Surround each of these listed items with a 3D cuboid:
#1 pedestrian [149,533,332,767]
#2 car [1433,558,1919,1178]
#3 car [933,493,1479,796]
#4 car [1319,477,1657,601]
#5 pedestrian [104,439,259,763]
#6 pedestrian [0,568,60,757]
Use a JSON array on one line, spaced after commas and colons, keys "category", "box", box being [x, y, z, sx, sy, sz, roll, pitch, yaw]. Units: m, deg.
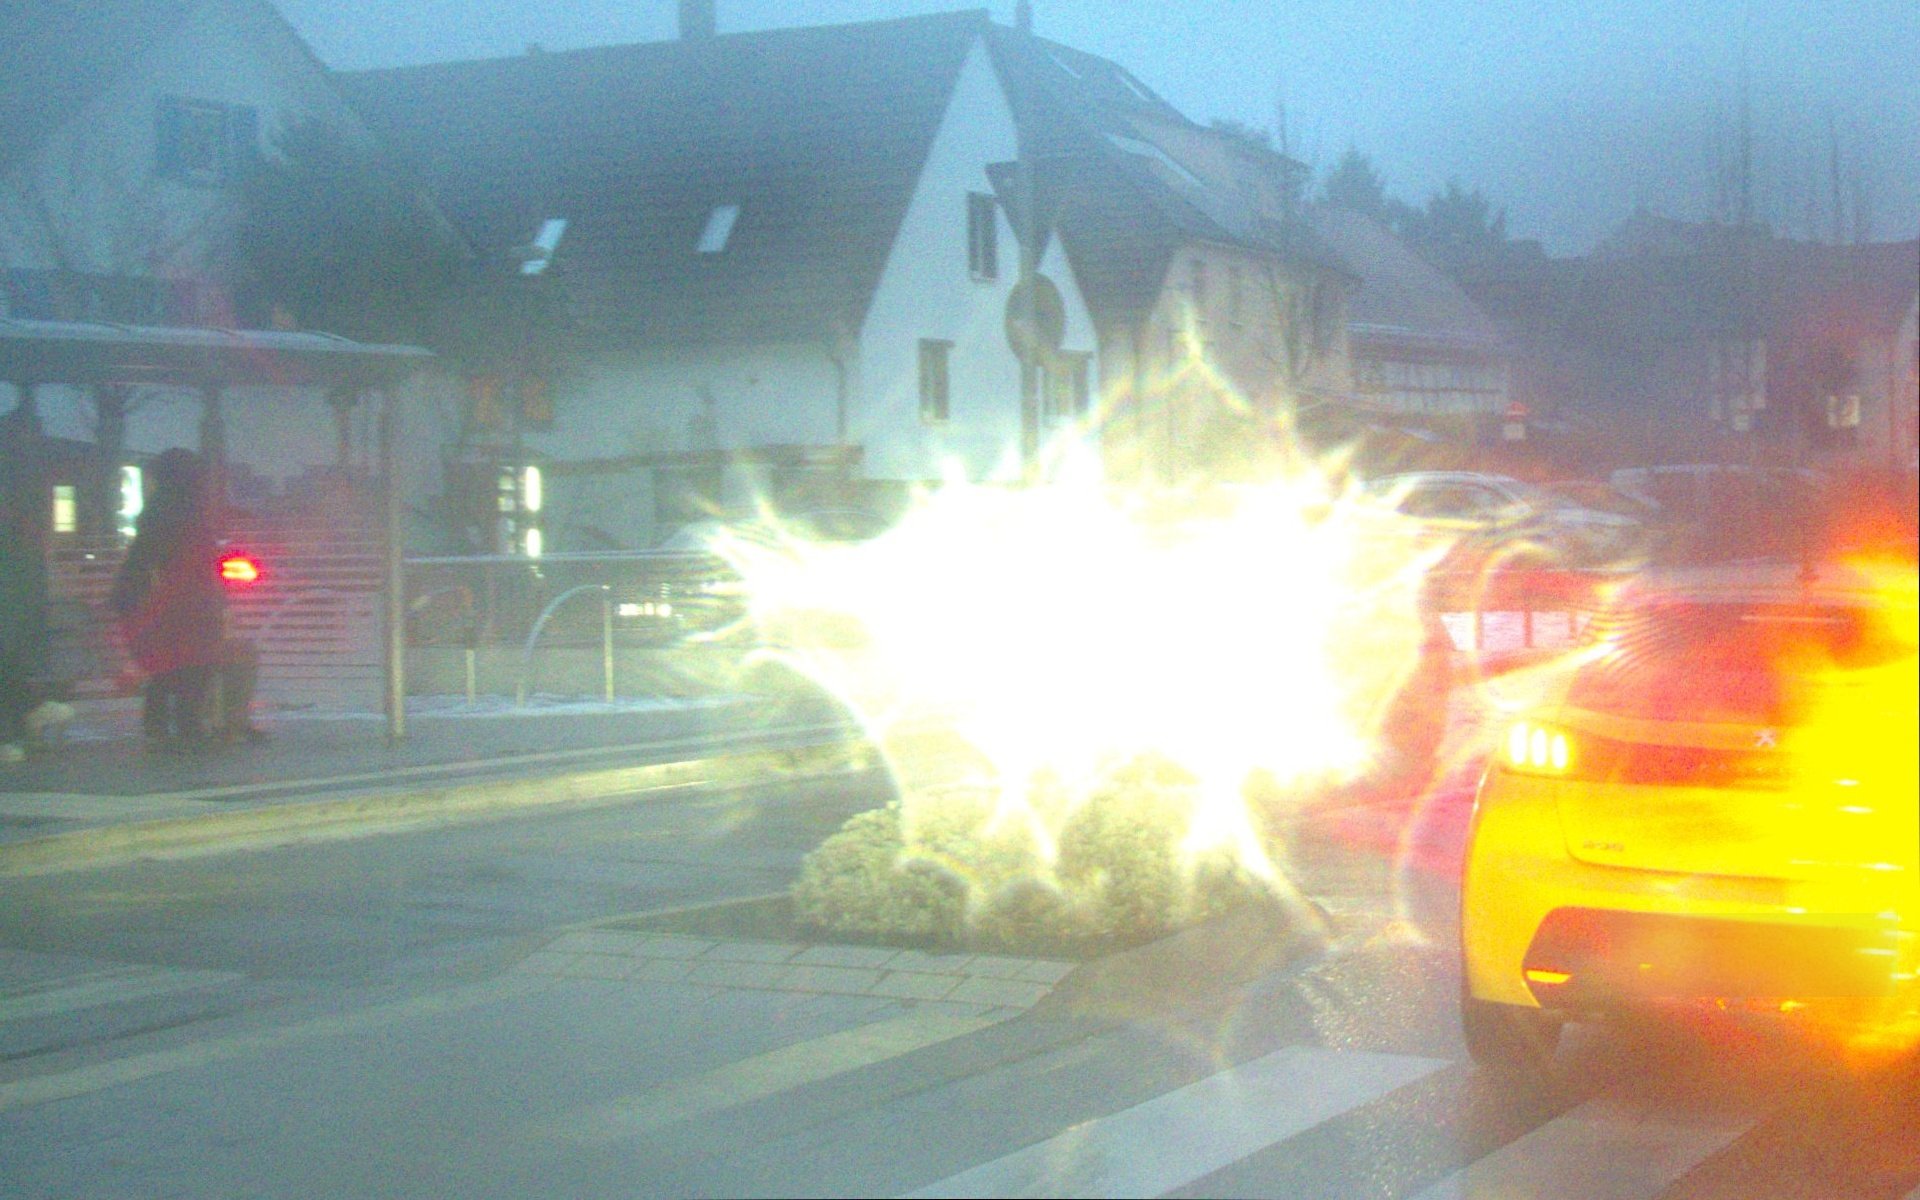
[{"category": "pedestrian", "box": [-4.267, 0.279, 20.414, 0.784, 1.343, 0.716, 1, 2, 24]}, {"category": "car", "box": [2.714, 0.638, 10.439, 1.711, 1.417, 4.009, 1, 2, 20]}, {"category": "car", "box": [1.551, 0.163, 20.151, 1.743, 1.563, 4.056, 1, 2, 27]}, {"category": "car", "box": [7.264, -0.854, 47.268, 4.312, 1.634, 1.844, 0, 2, 20]}, {"category": "pedestrian", "box": [-4.420, -0.002, 19.550, 0.729, 1.811, 0.531, 0, 2, 1]}, {"category": "pedestrian", "box": [-5.546, 0.334, 18.849, 0.862, 1.007, 0.810, 1, 2, 21]}]
